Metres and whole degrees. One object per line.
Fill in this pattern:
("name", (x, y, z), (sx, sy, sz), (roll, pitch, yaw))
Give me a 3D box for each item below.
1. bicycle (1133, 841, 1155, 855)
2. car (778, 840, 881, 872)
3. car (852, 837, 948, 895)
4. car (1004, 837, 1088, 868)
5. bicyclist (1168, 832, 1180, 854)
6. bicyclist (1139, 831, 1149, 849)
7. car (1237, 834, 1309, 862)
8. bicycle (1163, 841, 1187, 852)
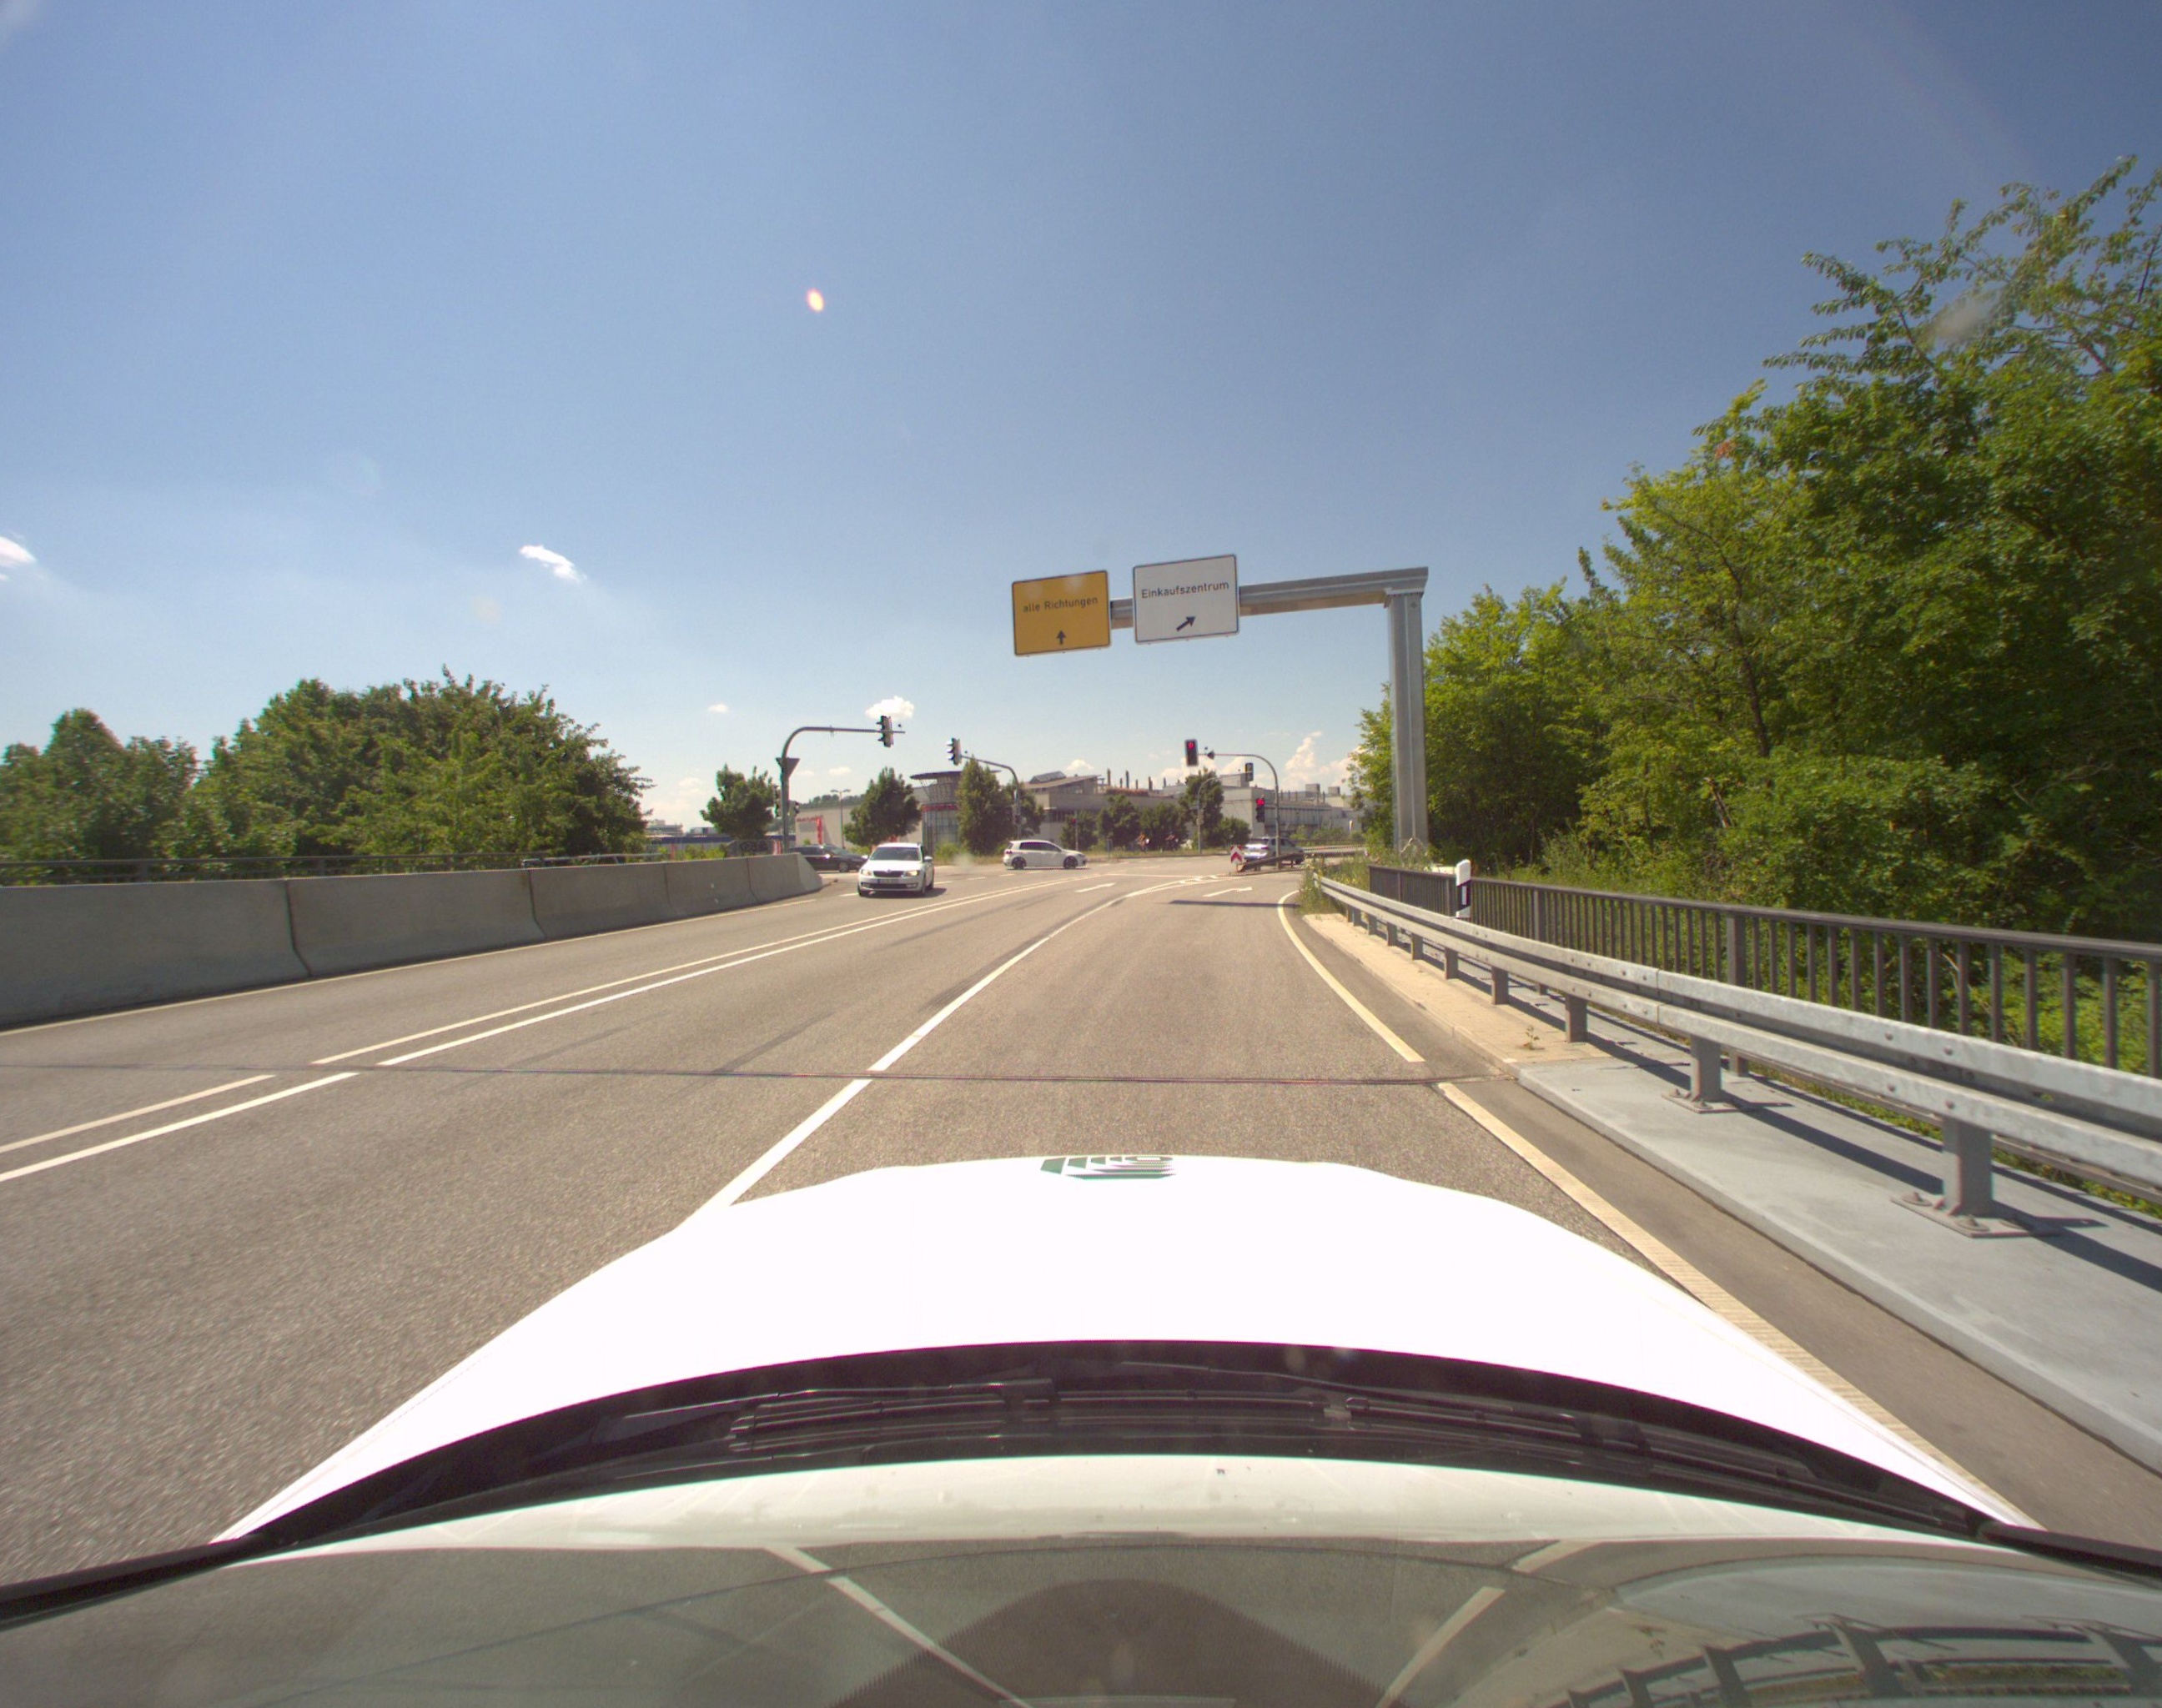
("bicycle", (4.889, -0.459, 63.412), (1.840, 1.024, 0.411), (-1, 2, -36))
("car", (-12.768, 0.093, 41.534), (4.701, 1.545, 1.737), (0, 1, 1))
("car", (-5.182, 0.286, 23.912), (1.782, 1.495, 4.551), (-1, 1, 0))
("car", (-1.797, -0.095, 41.172), (4.119, 1.486, 1.995), (0, 1, -8))
("bicyclist", (7.284, -0.876, 63.765), (0.734, 1.717, 0.526), (-1, 2, -37))
("bicyclist", (4.906, -1.061, 63.408), (0.688, 1.404, 0.404), (0, 1, -35))
("car", (11.163, -0.356, 47.247), (4.421, 1.505, 1.975), (-2, 0, -44))
("bicycle", (7.395, -0.576, 63.863), (2.137, 0.852, 0.529), (-1, 2, -39))
